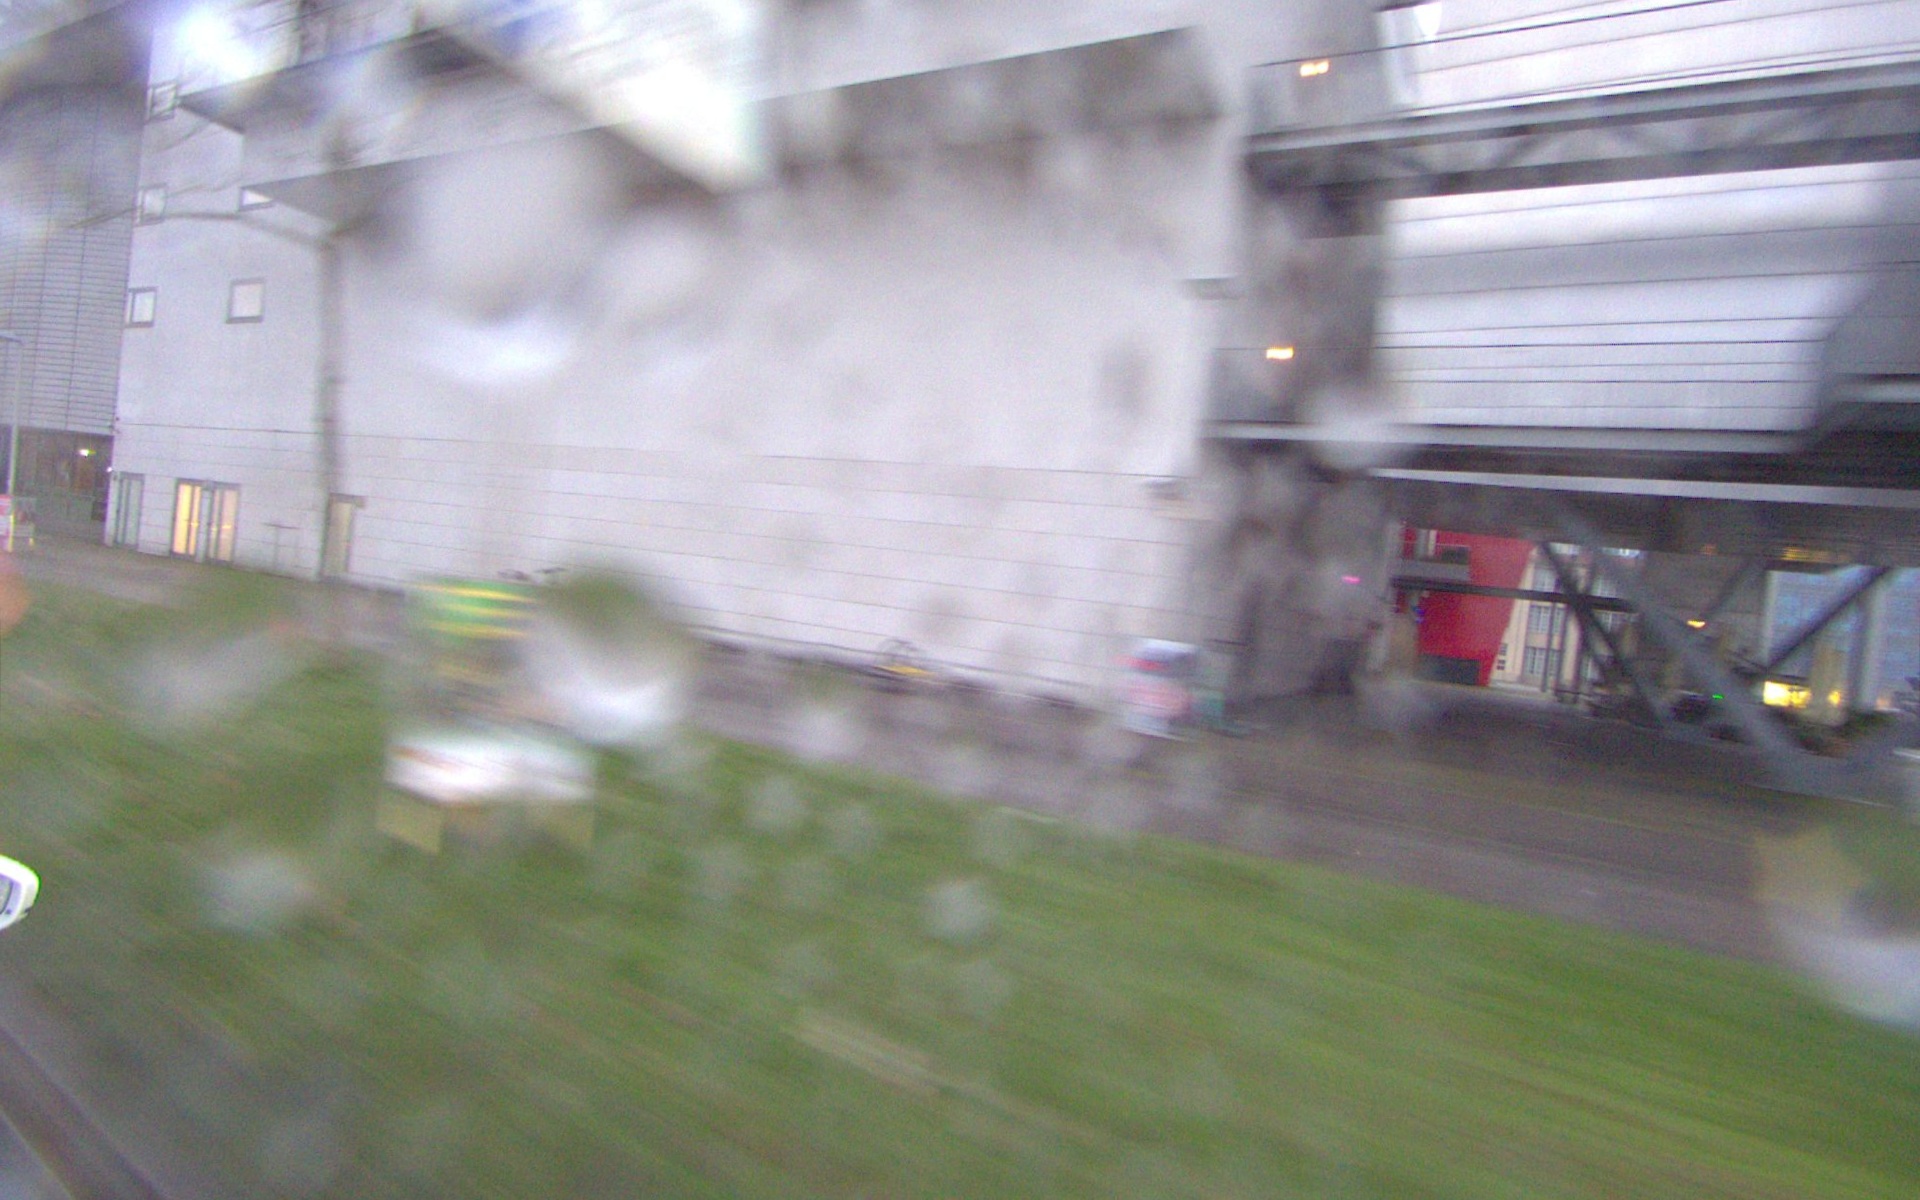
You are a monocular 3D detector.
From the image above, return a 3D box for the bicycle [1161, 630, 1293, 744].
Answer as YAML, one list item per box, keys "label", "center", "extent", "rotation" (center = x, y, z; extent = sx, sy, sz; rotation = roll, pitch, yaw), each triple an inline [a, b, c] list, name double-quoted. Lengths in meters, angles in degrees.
- label: "bicycle"
  center: [3.524, 1.126, 13.437]
  extent: [0.408, 1.299, 1.729]
  rotation: [8, -1, -34]

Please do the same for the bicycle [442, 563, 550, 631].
- label: "bicycle"
  center: [-8.146, -0.024, 17.749]
  extent: [0.390, 1.065, 1.812]
  rotation: [7, 1, 26]
